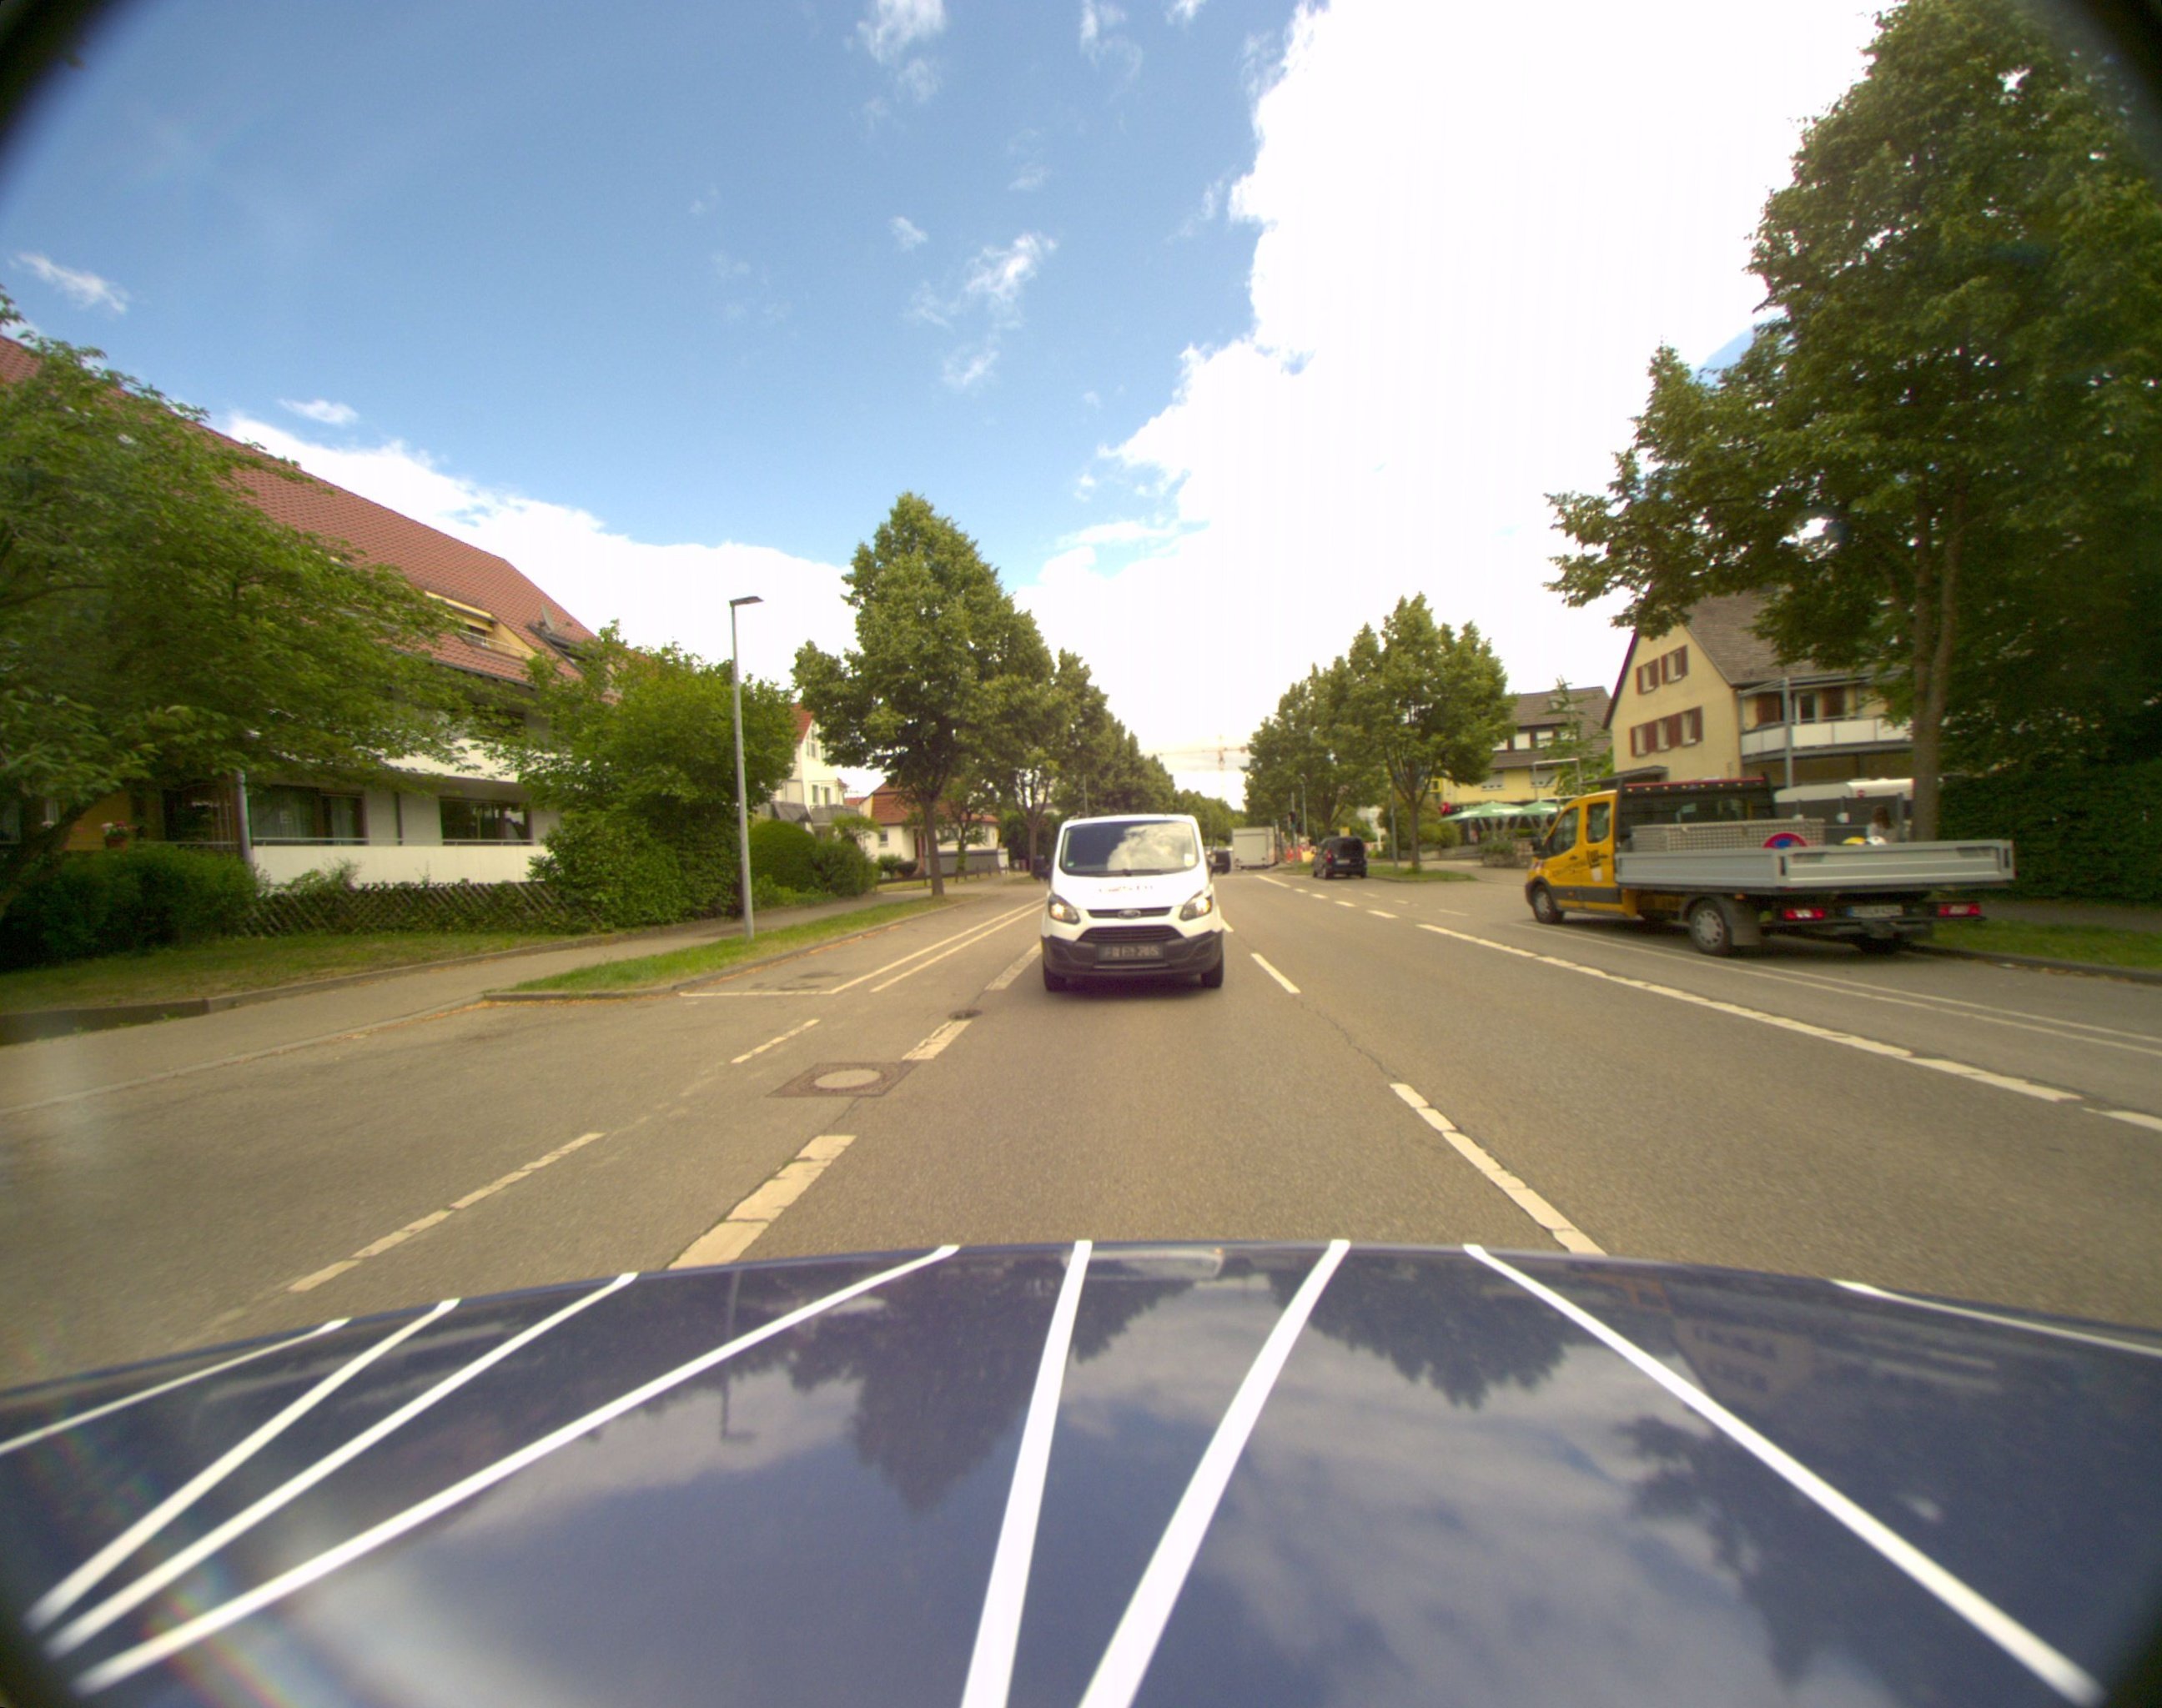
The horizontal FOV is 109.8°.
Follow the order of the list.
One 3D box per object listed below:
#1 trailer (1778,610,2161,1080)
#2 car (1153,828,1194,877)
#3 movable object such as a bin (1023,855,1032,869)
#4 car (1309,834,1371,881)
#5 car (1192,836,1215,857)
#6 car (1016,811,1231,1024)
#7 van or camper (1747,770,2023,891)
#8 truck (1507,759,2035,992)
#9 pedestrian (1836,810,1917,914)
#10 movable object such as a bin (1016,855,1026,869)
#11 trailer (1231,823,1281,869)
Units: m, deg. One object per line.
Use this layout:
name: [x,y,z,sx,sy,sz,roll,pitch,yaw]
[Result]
trailer: [7.881,-0.078,4.164,2.377,2.946,7.013,-2,1,8]
car: [5.359,-0.085,43.692,1.997,2.584,4.003,-3,0,10]
movable object such as a bin: [-4.167,0.643,59.003,0.499,1.038,0.520,-2,1,21]
car: [11.233,0.102,33.214,1.710,1.863,4.400,-2,1,8]
car: [12.536,-0.739,77.570,1.997,2.002,4.003,-1,1,12]
car: [0.635,0.593,9.999,1.998,2.002,5.320,-2,1,5]
van or camper: [22.119,-0.603,21.446,2.599,2.867,5.943,-2,1,15]
truck: [8.692,0.203,10.852,2.299,2.274,6.466,-2,1,8]
pedestrian: [13.788,0.141,13.192,0.642,1.732,0.722,-2,1,8]
movable object such as a bin: [-4.665,0.655,59.203,0.540,1.052,0.519,-2,1,21]
trailer: [12.131,-0.554,52.281,2.638,2.862,6.879,-2,1,18]
